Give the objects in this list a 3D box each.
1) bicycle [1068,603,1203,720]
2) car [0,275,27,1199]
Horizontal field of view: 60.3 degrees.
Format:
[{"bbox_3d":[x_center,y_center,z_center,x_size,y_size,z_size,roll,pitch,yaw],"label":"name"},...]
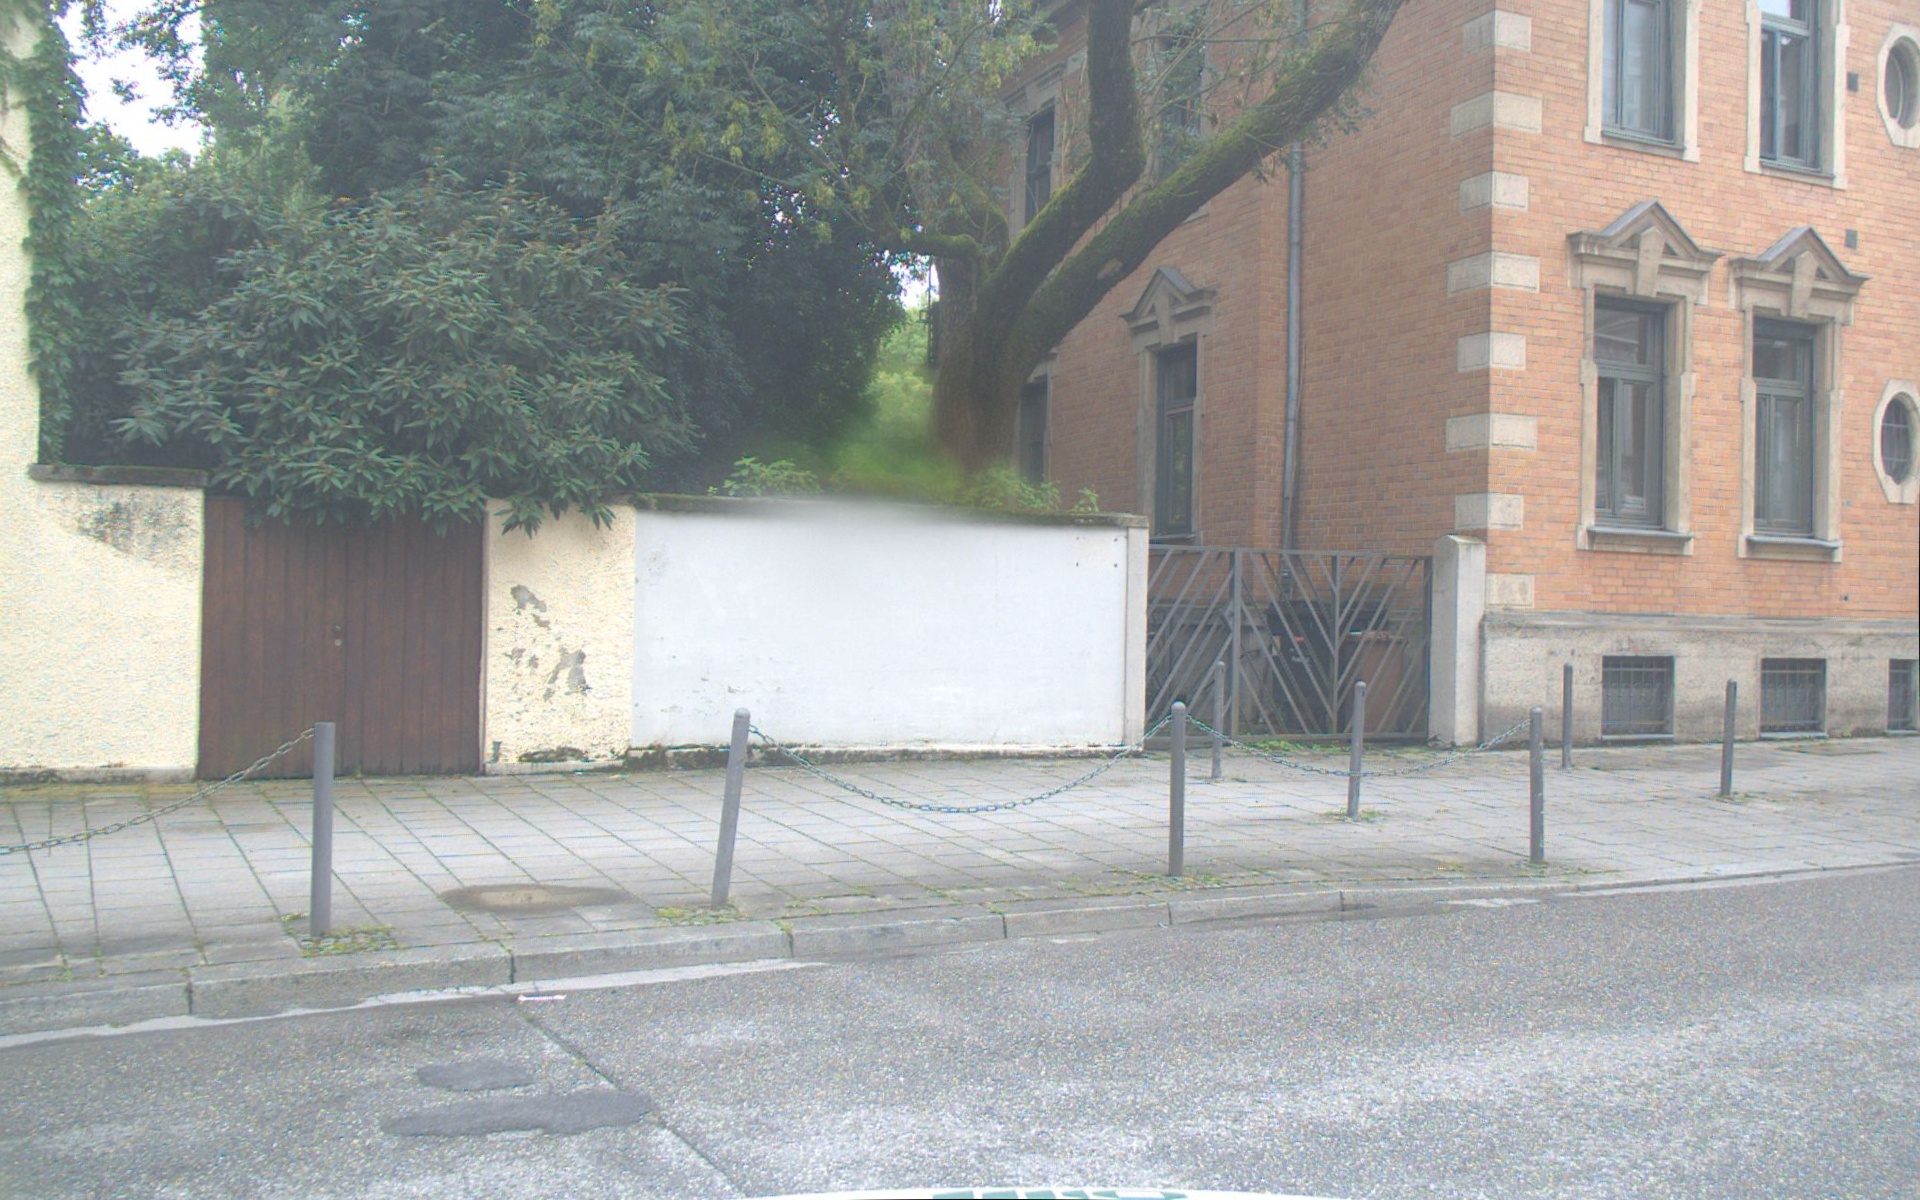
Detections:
[{"bbox_3d":[1.938,0.658,18.580,0.527,1.240,2.067,2,-1,-24],"label":"bicycle"},{"bbox_3d":[-4.456,0.374,2.770,4.899,2.077,2.022,1,-1,-35],"label":"car"}]
